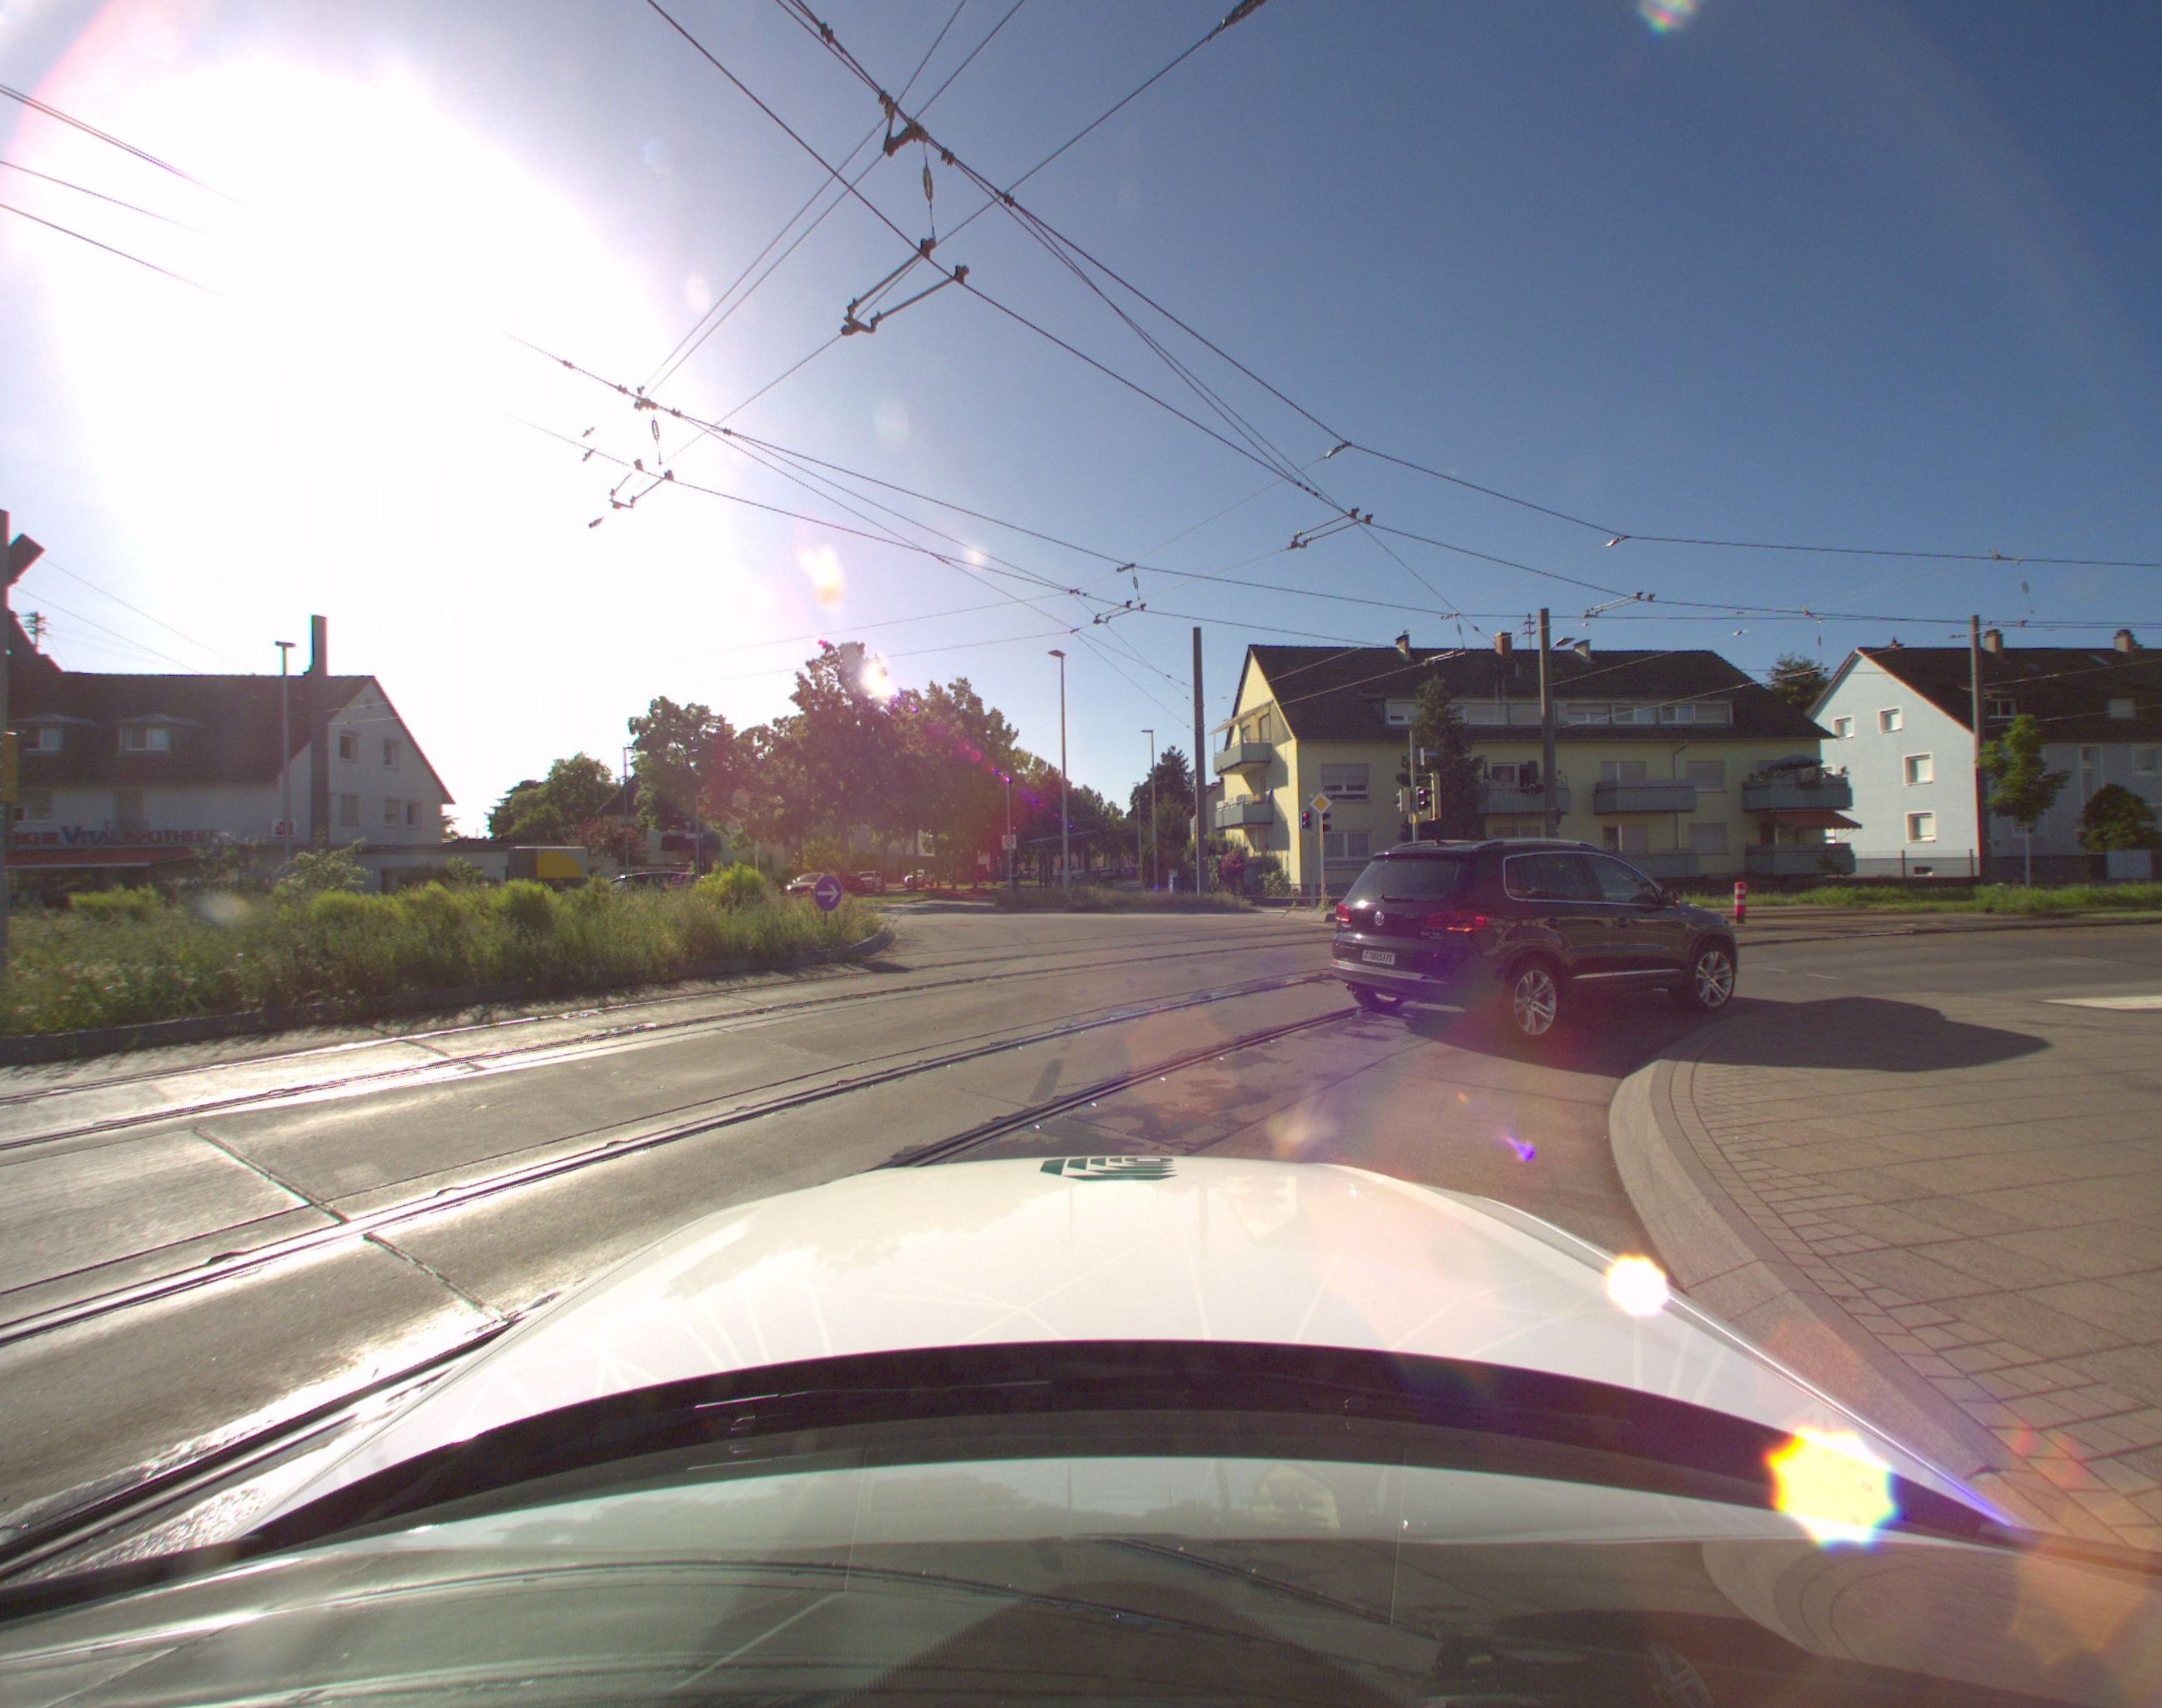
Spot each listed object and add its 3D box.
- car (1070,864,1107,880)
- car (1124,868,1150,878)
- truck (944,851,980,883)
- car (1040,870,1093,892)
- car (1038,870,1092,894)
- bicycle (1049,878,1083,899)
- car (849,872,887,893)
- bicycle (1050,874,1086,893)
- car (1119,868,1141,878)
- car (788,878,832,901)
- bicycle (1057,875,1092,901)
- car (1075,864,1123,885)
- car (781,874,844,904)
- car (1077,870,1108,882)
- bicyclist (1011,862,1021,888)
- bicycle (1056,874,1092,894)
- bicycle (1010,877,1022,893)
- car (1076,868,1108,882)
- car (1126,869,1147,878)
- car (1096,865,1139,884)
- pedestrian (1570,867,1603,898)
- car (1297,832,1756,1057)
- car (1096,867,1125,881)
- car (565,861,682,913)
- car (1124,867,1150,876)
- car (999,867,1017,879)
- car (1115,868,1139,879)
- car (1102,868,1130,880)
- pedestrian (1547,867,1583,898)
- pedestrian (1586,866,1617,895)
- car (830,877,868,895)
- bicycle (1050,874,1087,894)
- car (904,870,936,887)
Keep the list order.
[{"bbox_3d":[0.725,1.766,78.513,3.503,1.533,1.578,0,-1,2],"label":"car"},{"bbox_3d":[7.580,2.571,111.020,3.504,1.296,1.578,0,-1,1],"label":"car"},{"bbox_3d":[-15.073,1.647,103.748,3.058,3.993,8.010,0,-1,1],"label":"truck"},{"bbox_3d":[-0.981,1.848,56.385,3.503,1.533,1.578,0,-1,2],"label":"car"},{"bbox_3d":[-1.048,1.853,54.636,3.503,1.533,1.578,0,-1,2],"label":"car"},{"bbox_3d":[-0.746,1.708,40.576,1.685,1.027,0.599,0,-1,-2],"label":"bicycle"},{"bbox_3d":[-18.167,2.390,69.542,1.986,1.700,4.219,0,-1,1],"label":"car"},{"bbox_3d":[-0.704,1.604,43.948,1.968,1.027,0.688,0,-1,-2],"label":"bicycle"},{"bbox_3d":[7.881,3.115,131.546,3.504,1.533,1.578,0,-1,1],"label":"car"},{"bbox_3d":[-17.050,2.225,51.384,1.591,1.365,3.996,0,-1,-2],"label":"car"},{"bbox_3d":[-0.310,1.632,39.305,1.661,1.208,0.688,0,-1,-2],"label":"bicycle"},{"bbox_3d":[1.346,1.513,60.943,3.503,1.533,1.578,0,-1,2],"label":"car"},{"bbox_3d":[-15.026,1.930,45.803,1.823,1.581,4.443,0,-1,3],"label":"car"},{"bbox_3d":[1.370,2.529,92.978,3.424,1.394,1.239,0,-1,5],"label":"car"},{"bbox_3d":[-4.326,1.412,54.441,0.602,1.715,0.543,-1,-5,-6],"label":"bicyclist"},{"bbox_3d":[-0.348,1.541,42.103,1.836,1.027,0.688,0,-1,-2],"label":"bicycle"},{"bbox_3d":[-4.300,2.050,54.048,0.765,1.037,1.531,-1,-2,-6],"label":"bicycle"},{"bbox_3d":[1.224,2.355,91.066,3.395,1.533,1.527,-1,-1,5],"label":"car"},{"bbox_3d":[9.334,3.237,137.767,3.504,1.533,1.578,0,-1,1],"label":"car"},{"bbox_3d":[2.994,1.682,66.930,3.503,1.533,1.578,0,-1,2],"label":"car"},{"bbox_3d":[17.491,0.985,28.183,0.630,1.065,0.810,1,-2,-38],"label":"pedestrian"},{"bbox_3d":[4.367,0.650,7.902,4.266,1.670,1.802,-1,1,-26],"label":"car"},{"bbox_3d":[3.479,2.376,96.816,3.347,1.533,1.523,0,-1,1],"label":"car"},{"bbox_3d":[-14.496,1.031,25.732,3.863,1.491,1.704,-2,-1,35],"label":"car"},{"bbox_3d":[7.566,2.397,110.975,3.504,1.279,1.578,0,-1,1],"label":"car"},{"bbox_3d":[-11.097,2.914,124.425,1.983,1.700,4.225,0,-1,6],"label":"car"},{"bbox_3d":[6.819,2.913,120.928,3.504,1.533,1.578,0,-1,1],"label":"car"},{"bbox_3d":[4.360,2.513,101.545,3.466,1.493,1.552,0,-1,1],"label":"car"},{"bbox_3d":[16.642,0.961,28.027,0.685,1.046,0.818,0,-1,-8],"label":"pedestrian"},{"bbox_3d":[18.150,0.925,28.389,0.597,1.006,0.717,1,-1,-29],"label":"pedestrian"},{"bbox_3d":[-18.378,2.506,64.729,1.957,1.324,3.996,0,-1,-2],"label":"car"},{"bbox_3d":[-0.665,1.584,42.996,1.968,1.027,0.695,0,-1,-2],"label":"bicycle"},{"bbox_3d":[-16.930,2.533,85.888,1.984,1.773,5.067,0,-1,5],"label":"car"}]
